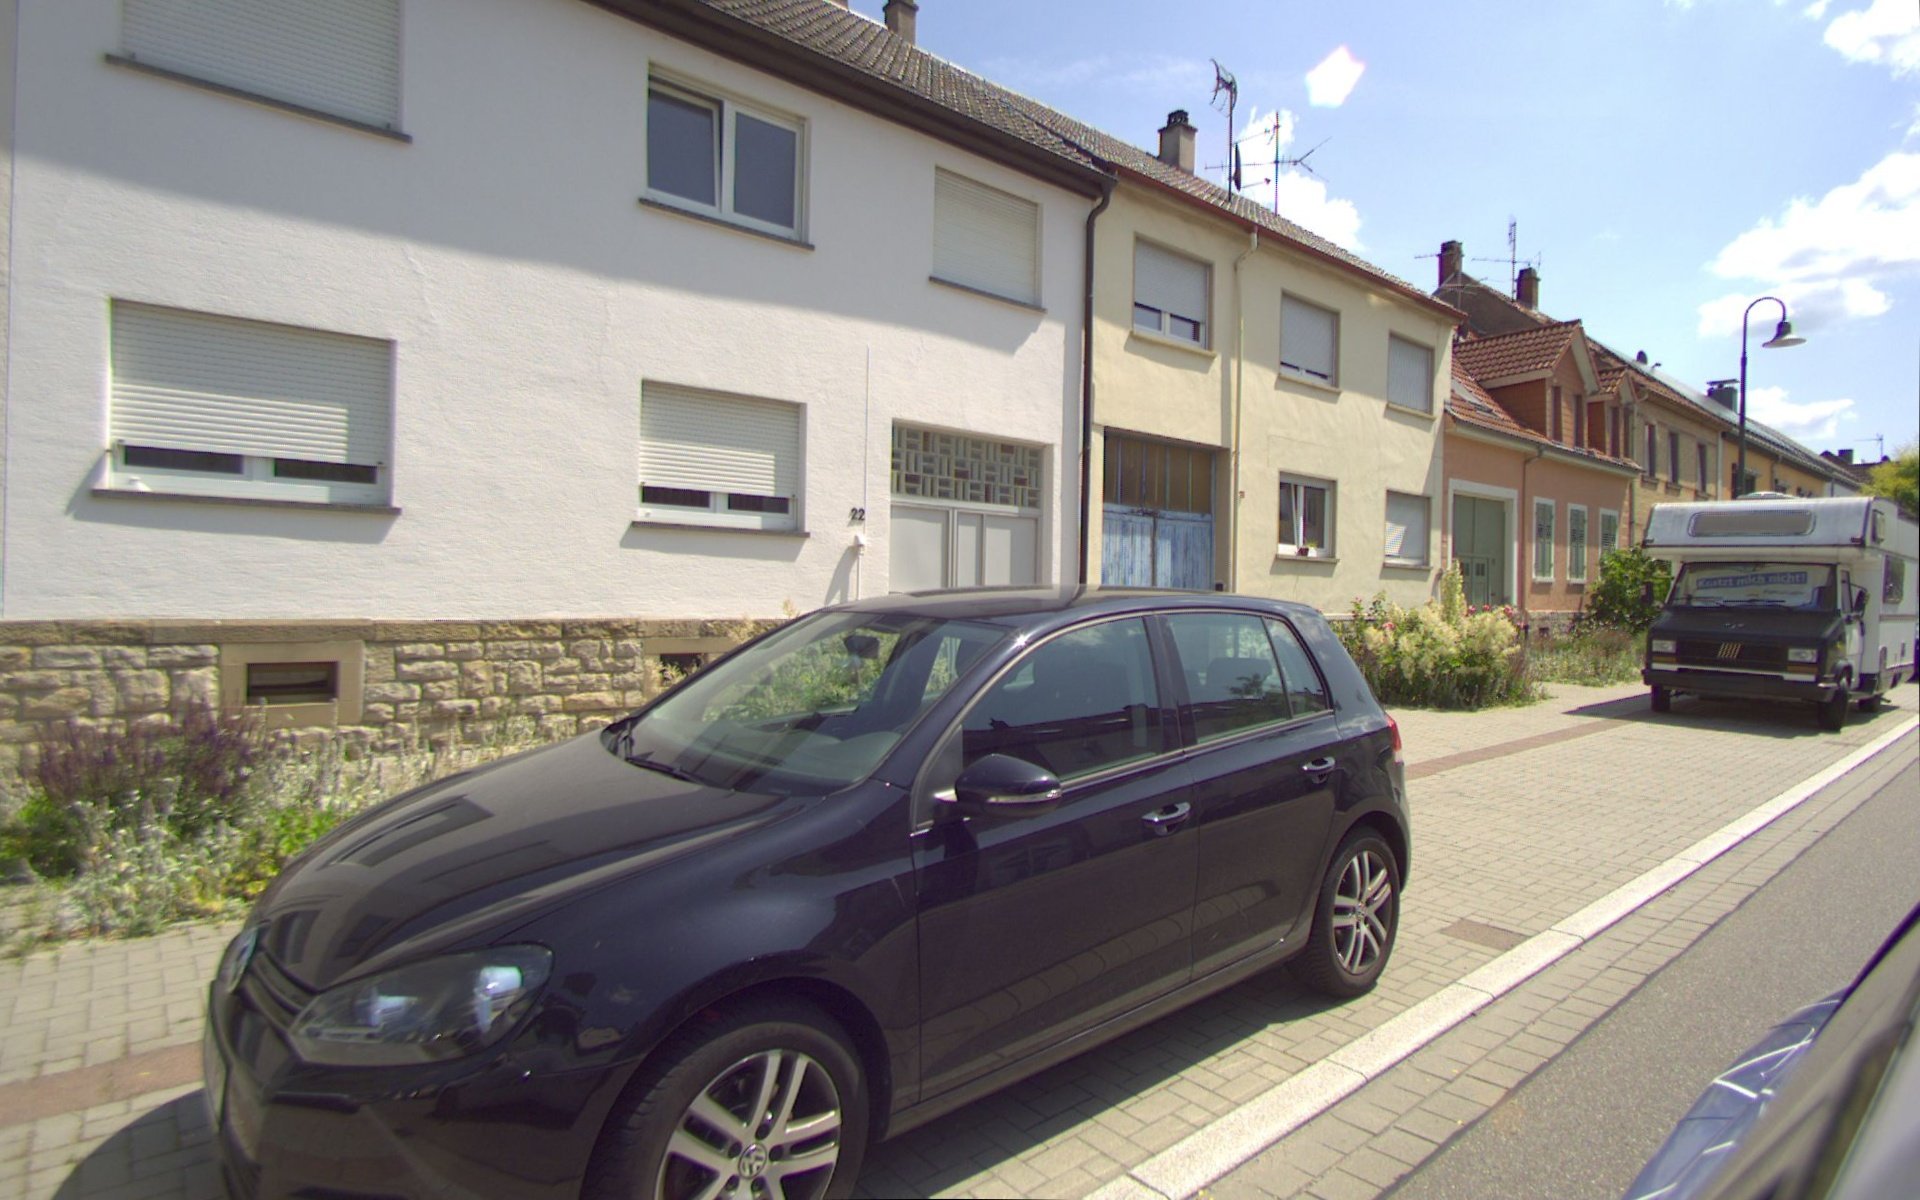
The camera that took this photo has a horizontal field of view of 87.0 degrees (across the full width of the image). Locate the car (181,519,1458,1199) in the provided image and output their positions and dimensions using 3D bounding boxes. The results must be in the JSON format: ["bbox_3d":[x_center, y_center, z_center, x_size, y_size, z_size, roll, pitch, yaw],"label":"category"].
[{"bbox_3d":[-0.096,0.638,3.408,3.936,1.549,1.770,0,1,-40],"label":"car"}]

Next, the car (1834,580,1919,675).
[{"bbox_3d":[18.902,0.489,20.052,4.248,1.726,1.770,0,1,-40],"label":"car"}]

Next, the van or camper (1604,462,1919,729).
[{"bbox_3d":[11.055,-0.086,13.585,5.689,2.845,2.478,1,2,-41],"label":"van or camper"}]

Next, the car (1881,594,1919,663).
[{"bbox_3d":[22.788,0.629,23.441,4.223,1.507,1.769,0,1,-42],"label":"car"}]
